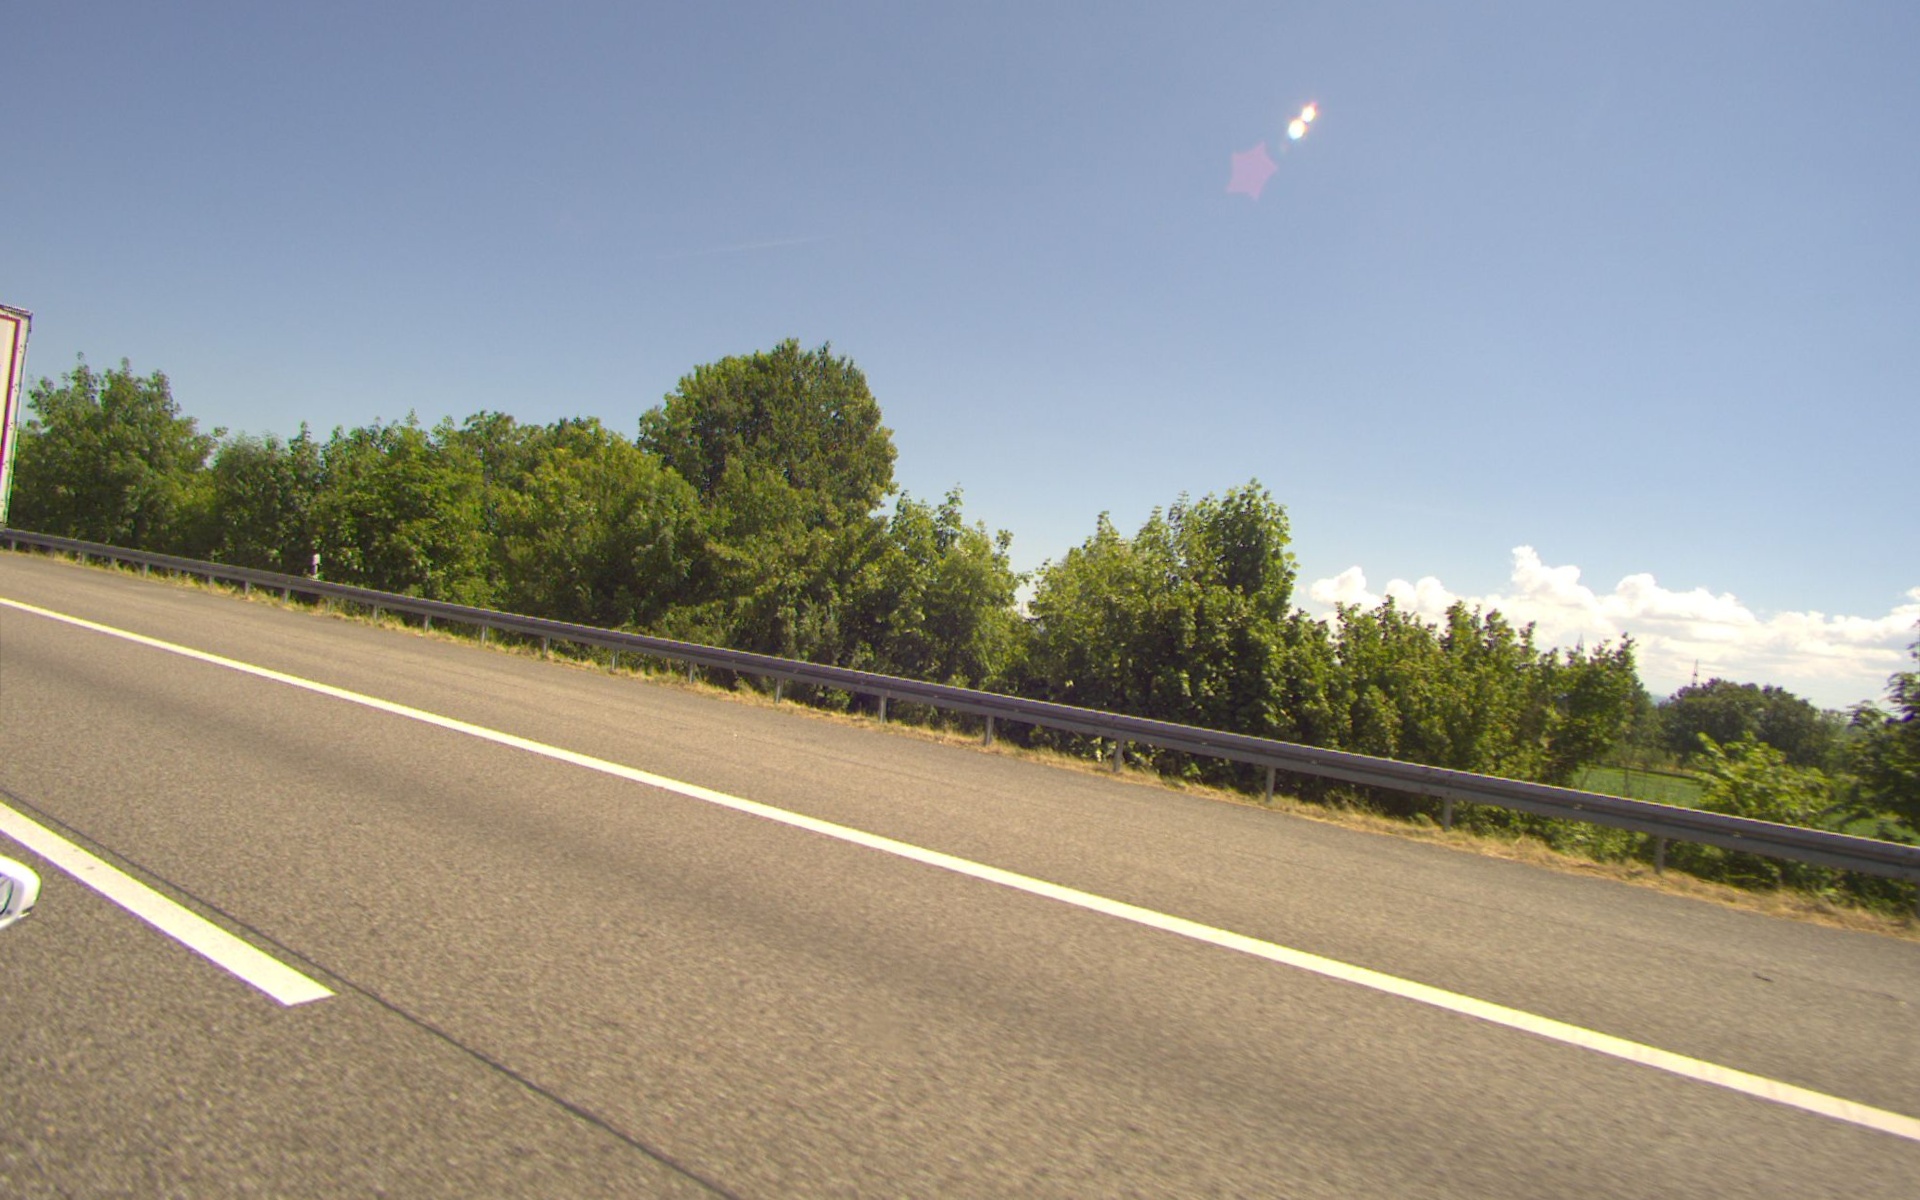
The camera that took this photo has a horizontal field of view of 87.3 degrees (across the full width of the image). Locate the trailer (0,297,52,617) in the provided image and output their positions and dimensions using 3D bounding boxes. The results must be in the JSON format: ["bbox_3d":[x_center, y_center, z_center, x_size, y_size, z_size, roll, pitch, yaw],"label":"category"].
[{"bbox_3d":[-19.032,-2.619,15.871,13.914,4.136,2.713,6,-2,31],"label":"trailer"}]
